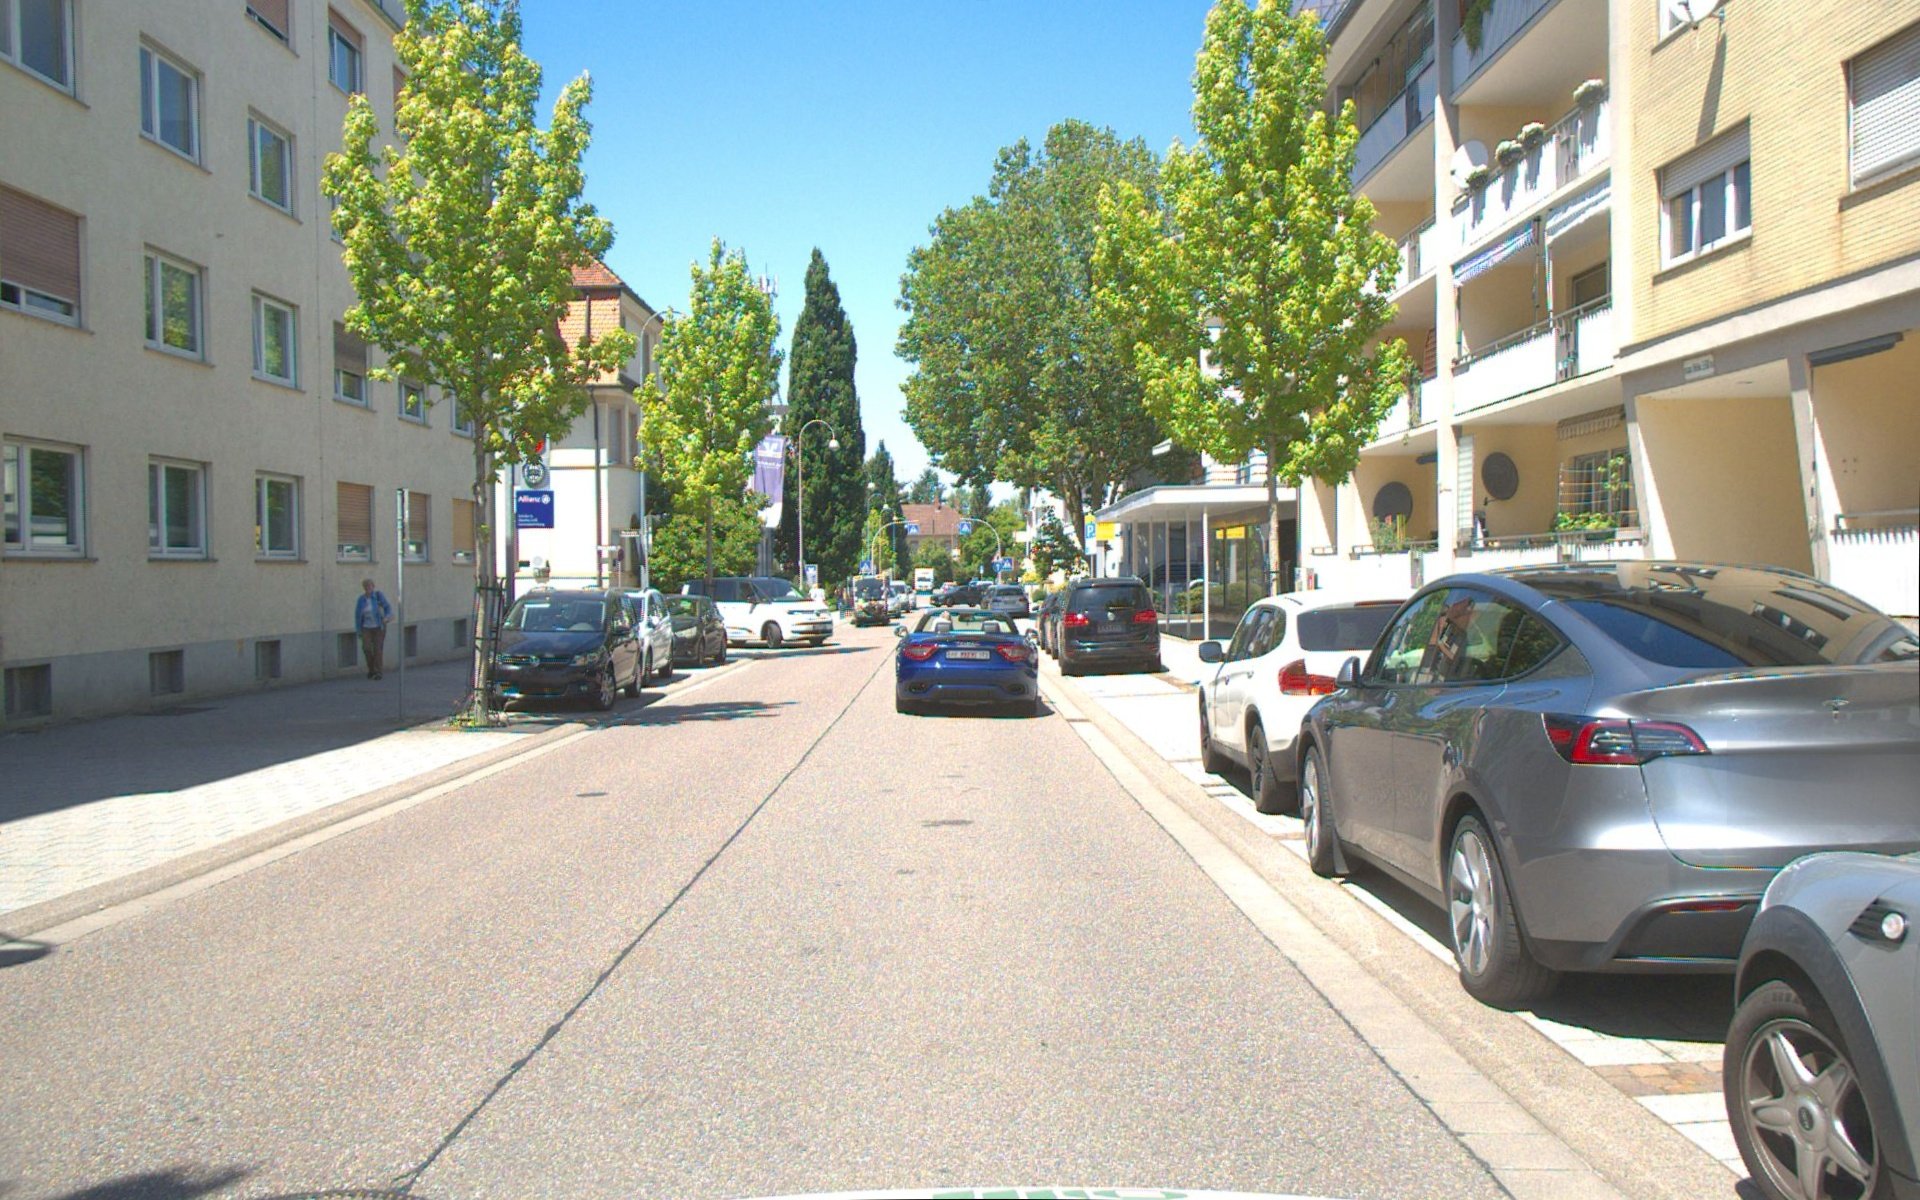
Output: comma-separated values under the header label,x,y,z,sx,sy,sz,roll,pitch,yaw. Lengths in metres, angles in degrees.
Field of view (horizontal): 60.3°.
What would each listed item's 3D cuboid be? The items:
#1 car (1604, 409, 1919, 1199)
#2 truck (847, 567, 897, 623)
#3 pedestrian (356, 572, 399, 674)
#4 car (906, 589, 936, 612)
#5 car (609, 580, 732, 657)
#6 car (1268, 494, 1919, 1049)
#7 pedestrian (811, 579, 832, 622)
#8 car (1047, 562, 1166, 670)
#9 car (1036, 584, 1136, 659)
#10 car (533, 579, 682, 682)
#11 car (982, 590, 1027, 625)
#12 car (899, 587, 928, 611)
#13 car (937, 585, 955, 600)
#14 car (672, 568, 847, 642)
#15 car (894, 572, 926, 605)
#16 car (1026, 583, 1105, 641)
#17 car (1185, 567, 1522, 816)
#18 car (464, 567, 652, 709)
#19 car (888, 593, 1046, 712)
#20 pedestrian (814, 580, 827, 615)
label,x,y,z,sx,sy,sz,roll,pitch,yaw
car,2.591,0.435,2.671,1.589,1.586,3.840,0,0,0
truck,-3.510,-0.226,66.411,1.768,2.154,4.714,-1,1,0
pedestrian,-10.140,0.389,28.791,0.645,1.709,0.628,-1,2,-18
car,-2.587,0.020,110.102,1.911,1.502,4.137,-1,0,-1
car,-6.186,0.370,35.765,1.718,1.499,4.322,2,0,2
car,2.725,0.531,7.578,1.728,1.735,4.705,-1,0,0
pedestrian,-6.454,0.033,77.089,0.831,1.949,0.762,0,2,7
car,2.680,0.225,31.192,1.952,1.830,4.570,-1,2,1
car,2.770,0.457,37.246,1.856,1.557,4.568,-1,0,0
car,-6.198,0.474,29.561,1.787,1.647,4.391,2,1,-2
car,2.068,0.318,77.806,1.936,1.475,4.349,-1,1,0
car,-2.939,-0.071,104.816,1.734,1.502,4.137,-1,0,-1
car,-1.385,-0.729,164.132,1.734,1.502,4.136,1,0,-1
car,-5.611,0.150,46.007,4.805,1.956,1.907,-1,0,35
car,-2.823,-0.650,93.950,1.734,1.798,4.136,-1,1,-2
car,2.732,0.313,43.649,1.807,1.439,4.162,-1,0,0
car,2.869,0.603,12.963,1.687,1.611,4.225,-1,0,1
car,-5.723,0.480,24.051,1.694,1.770,4.391,3,0,-2
car,0.045,0.646,22.749,1.936,1.422,4.626,1,0,-1
pedestrian,-6.500,-0.122,77.076,0.575,1.602,0.781,1,0,-1
